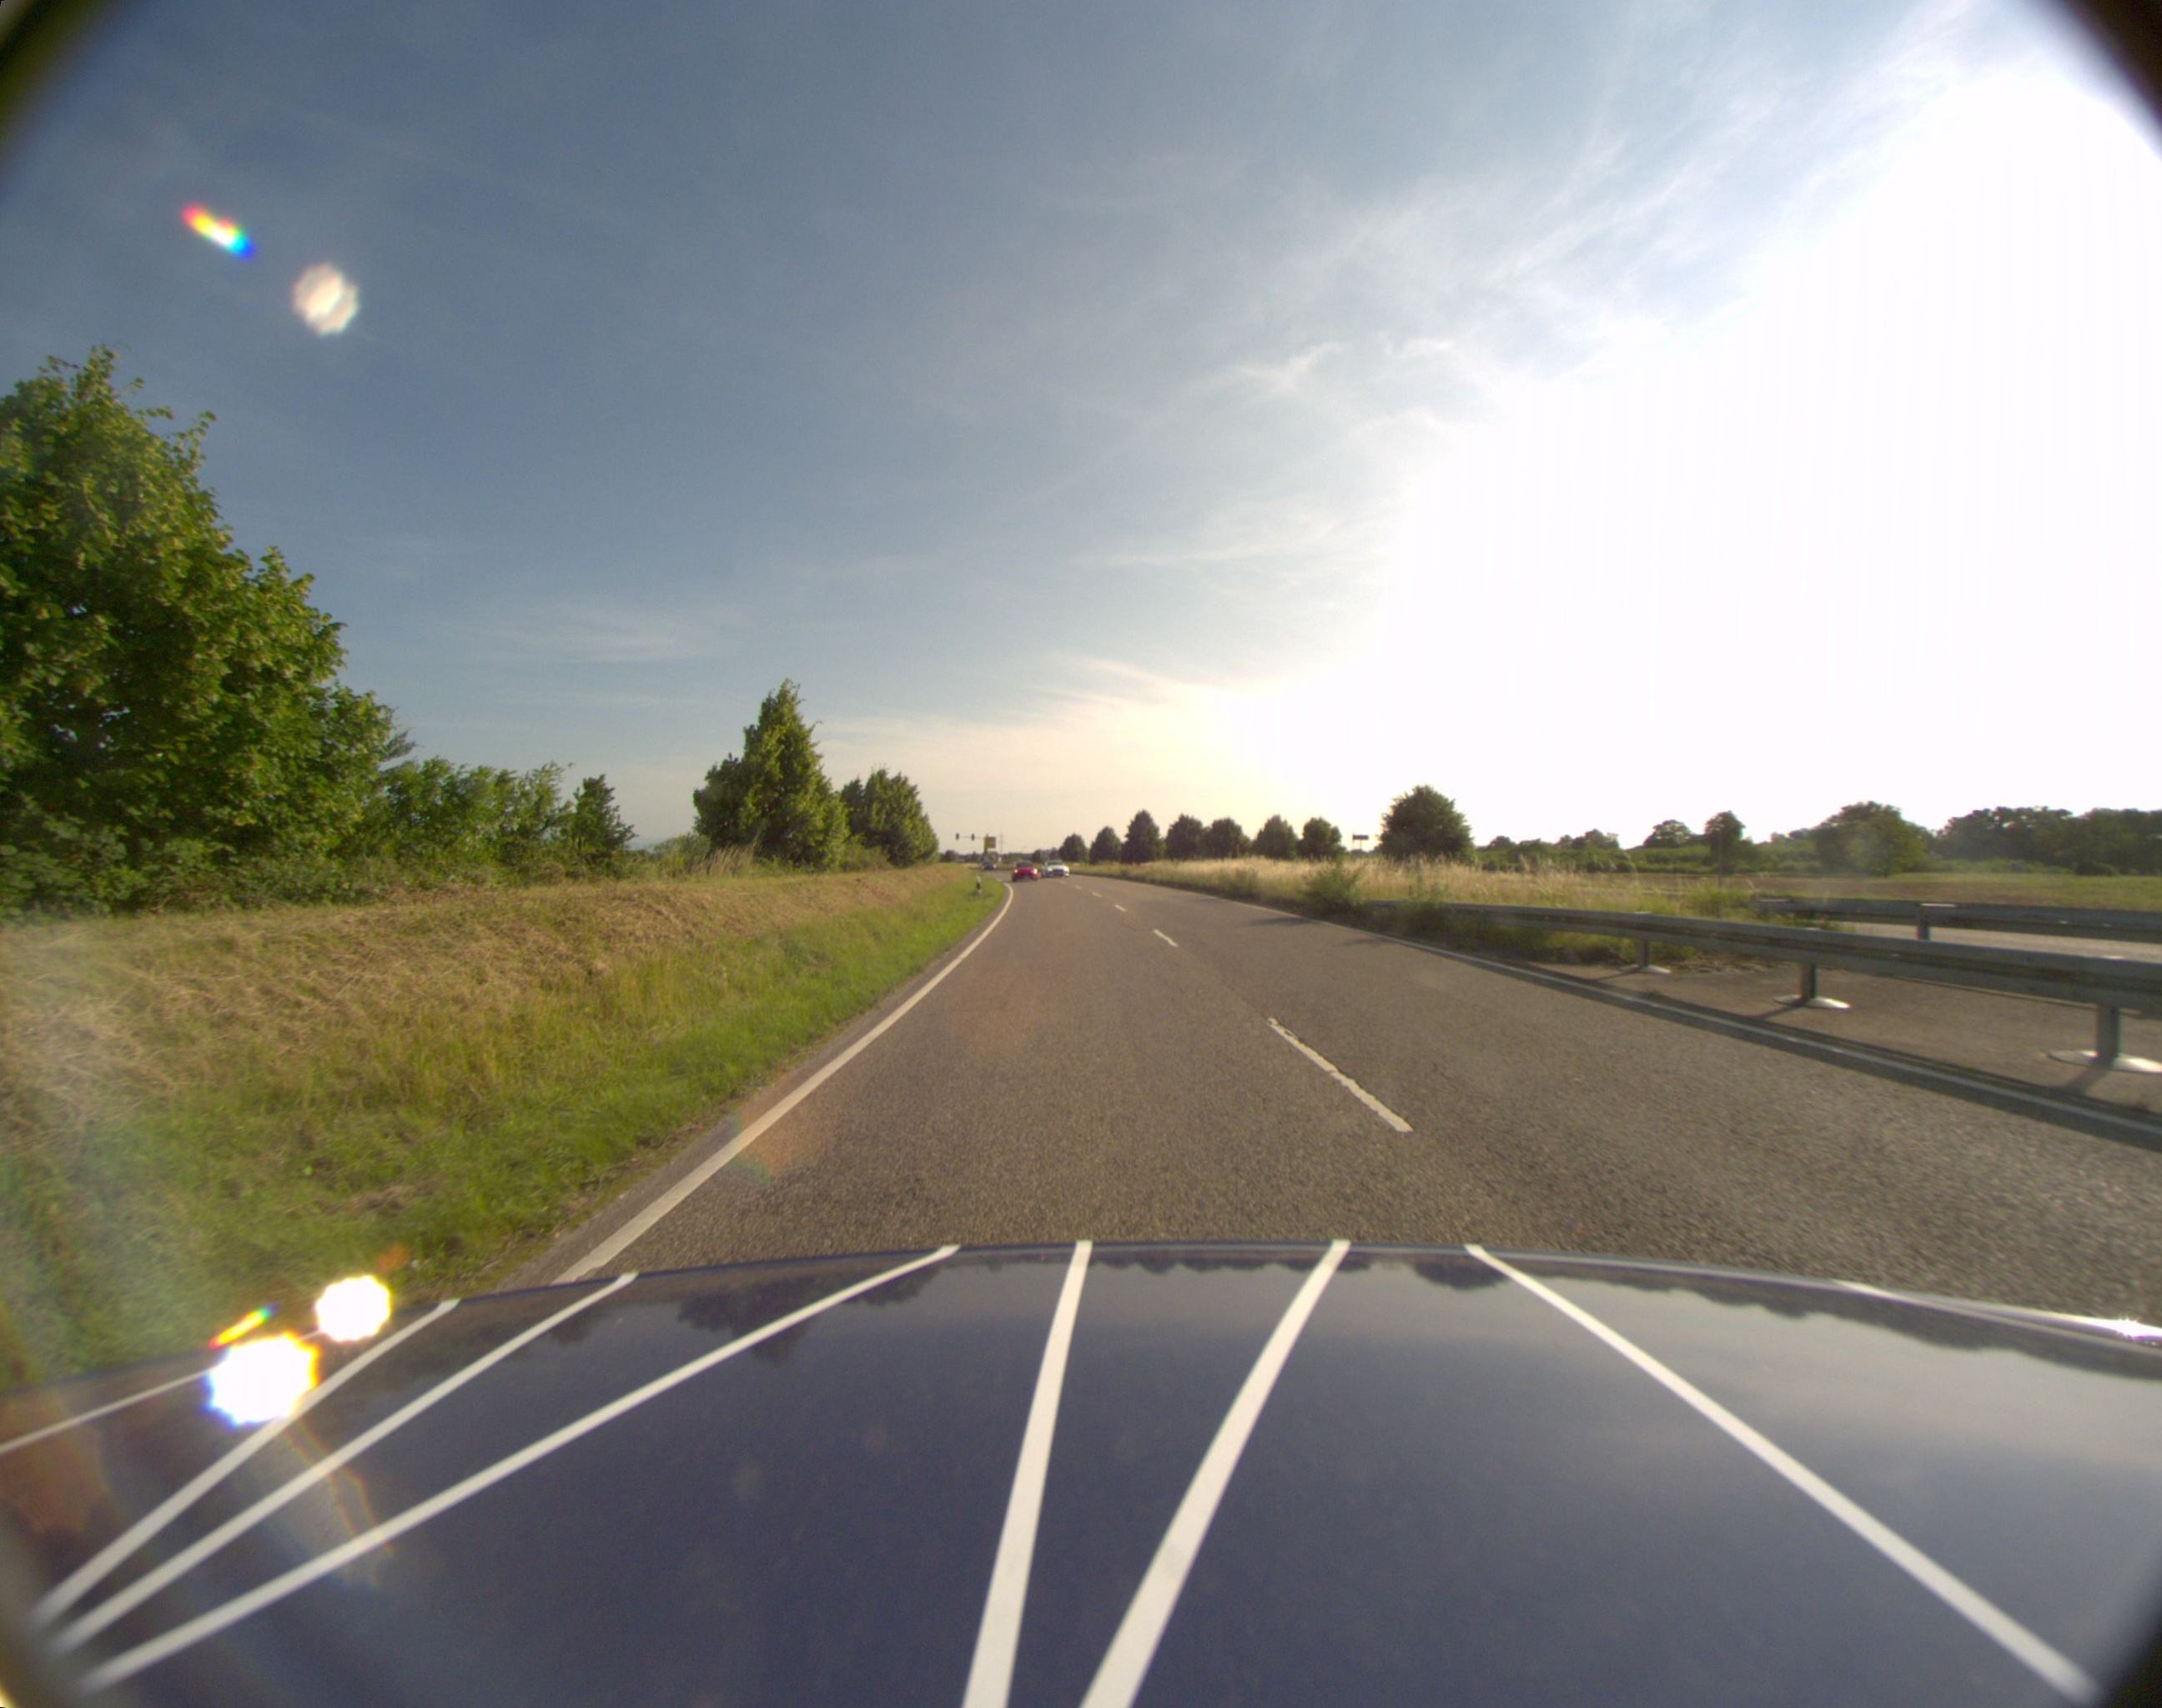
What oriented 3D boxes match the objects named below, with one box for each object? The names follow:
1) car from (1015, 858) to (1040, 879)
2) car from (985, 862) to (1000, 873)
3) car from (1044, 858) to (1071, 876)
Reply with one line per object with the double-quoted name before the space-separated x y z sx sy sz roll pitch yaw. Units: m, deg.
"car" -4.036 1.073 56.644 1.666 1.455 3.952 -1 0 -7
"car" -12.855 1.911 110.157 1.753 1.521 3.995 -1 0 -13
"car" -2.002 1.090 64.290 1.877 1.390 4.202 -1 0 -7
